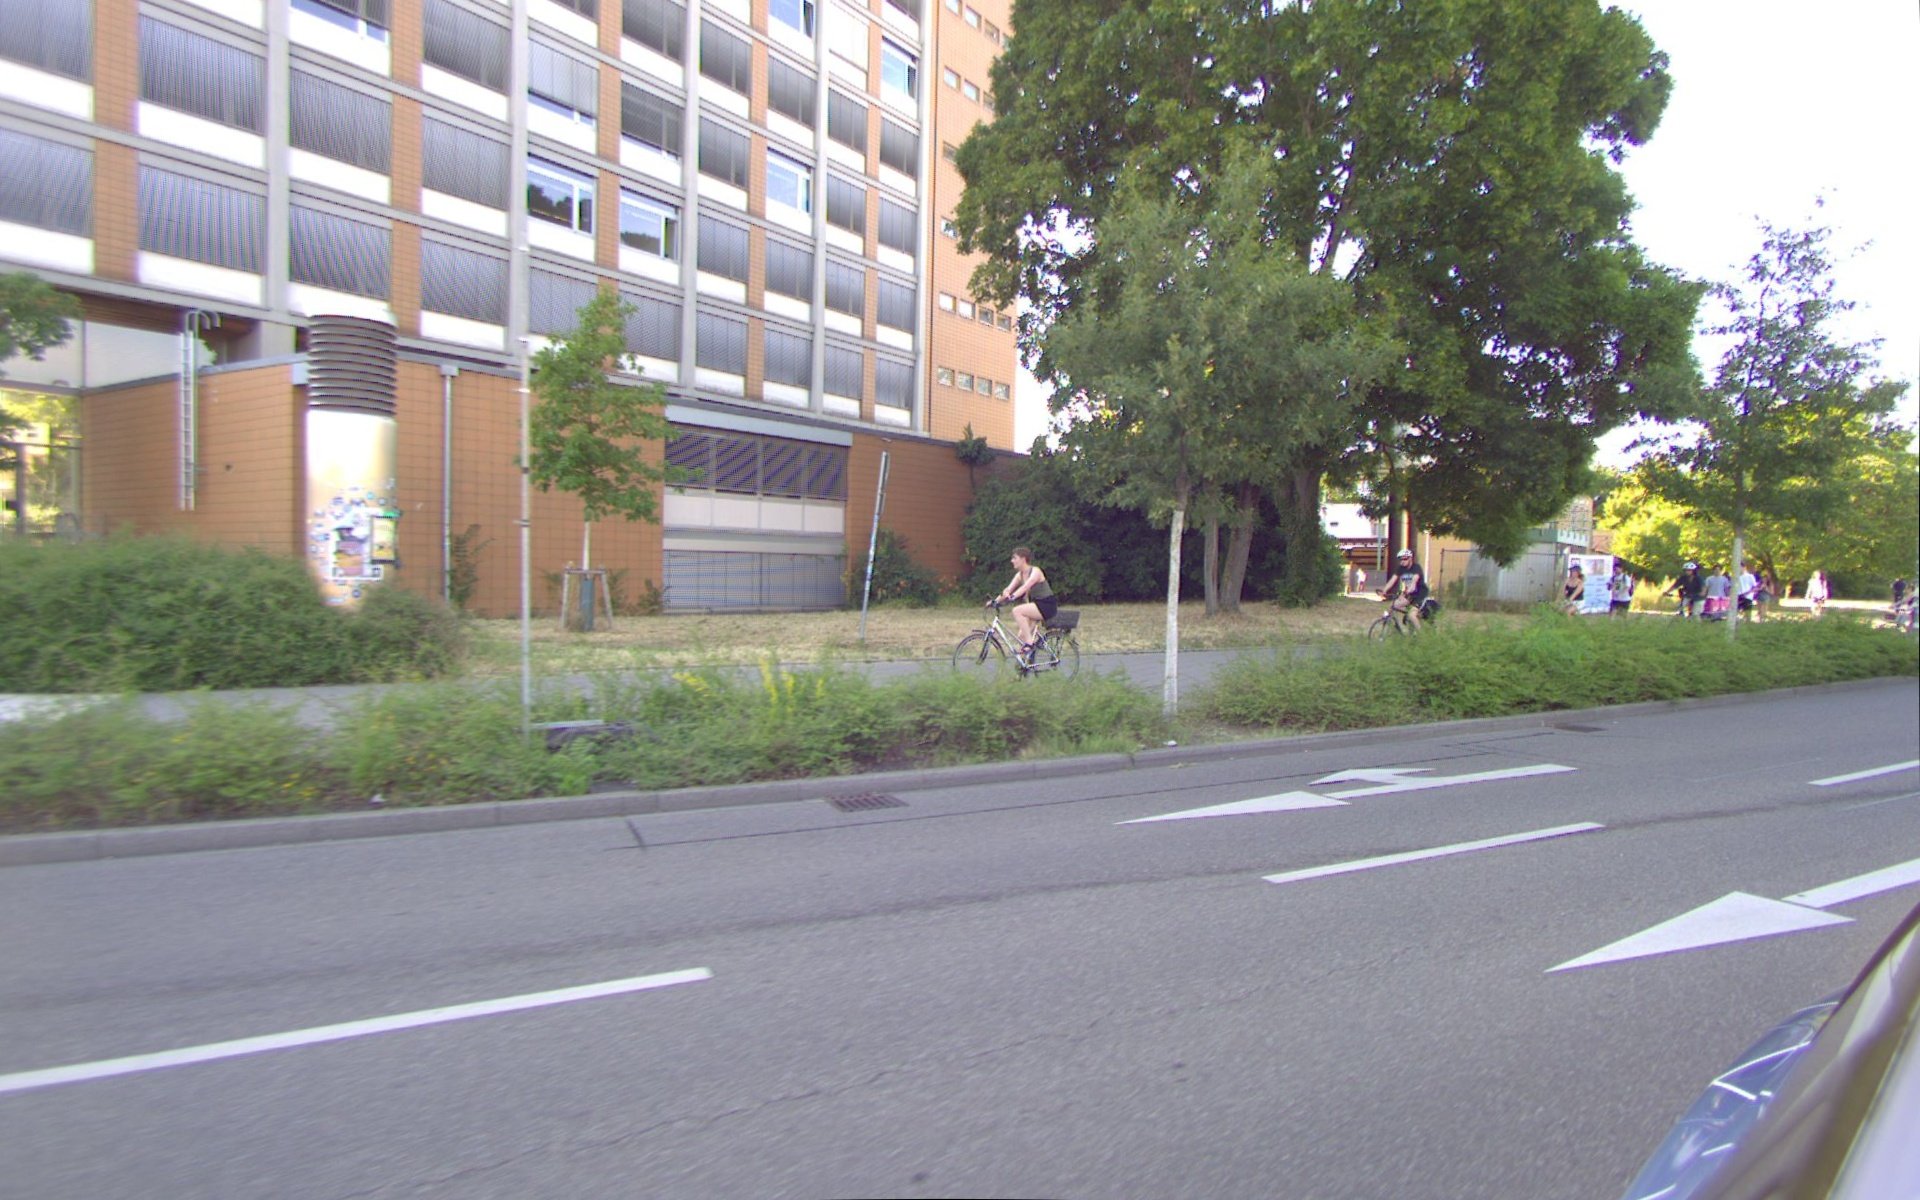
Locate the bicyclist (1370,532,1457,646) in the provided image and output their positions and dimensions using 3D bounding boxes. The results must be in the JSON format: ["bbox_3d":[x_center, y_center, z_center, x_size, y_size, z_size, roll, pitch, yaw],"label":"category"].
[{"bbox_3d":[7.623,-0.195,17.023,1.071,1.853,0.782,0,2,-27],"label":"bicyclist"}]

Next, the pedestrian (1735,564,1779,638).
[{"bbox_3d":[20.747,0.022,26.347,0.611,1.892,0.576,1,2,4],"label":"pedestrian"}]

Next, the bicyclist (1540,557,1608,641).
[{"bbox_3d":[11.871,-0.021,19.578,0.832,1.568,0.719,2,0,-21],"label":"bicyclist"}]

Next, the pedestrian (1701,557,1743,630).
[{"bbox_3d":[20.094,-0.189,26.697,0.611,1.892,0.576,1,2,4],"label":"pedestrian"}]

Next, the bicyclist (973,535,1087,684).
[{"bbox_3d":[0.840,0.090,12.241,1.071,1.697,0.782,0,5,-29],"label":"bicyclist"}]

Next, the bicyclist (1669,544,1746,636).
[{"bbox_3d":[15.525,-0.224,21.028,1.070,1.856,0.782,0,2,-20],"label":"bicyclist"}]

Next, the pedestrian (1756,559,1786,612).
[{"bbox_3d":[25.050,-0.460,31.259,0.620,1.594,0.629,2,2,43],"label":"pedestrian"}]

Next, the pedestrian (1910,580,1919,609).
[{"bbox_3d":[51.353,-0.285,54.028,0.759,1.562,0.836,3,3,37],"label":"pedestrian"}]

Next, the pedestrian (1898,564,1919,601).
[{"bbox_3d":[45.547,-0.832,48.589,0.710,1.734,0.722,2,2,43],"label":"pedestrian"}]

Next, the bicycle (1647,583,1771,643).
[{"bbox_3d":[15.592,0.257,21.060,2.526,1.170,0.782,0,2,-20],"label":"bicycle"}]

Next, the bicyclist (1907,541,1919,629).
[{"bbox_3d":[20.204,-0.317,20.779,0.834,1.810,0.716,0,0,4],"label":"bicyclist"}]

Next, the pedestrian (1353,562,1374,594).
[{"bbox_3d":[26.062,-1.413,65.338,0.853,2.038,0.899,0,2,-41],"label":"pedestrian"}]

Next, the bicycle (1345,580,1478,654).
[{"bbox_3d":[7.613,0.256,17.040,2.244,1.170,0.782,0,2,-27],"label":"bicycle"}]

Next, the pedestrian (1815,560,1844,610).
[{"bbox_3d":[30.829,-0.530,35.884,0.672,1.725,0.865,2,2,38],"label":"pedestrian"}]

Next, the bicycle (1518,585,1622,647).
[{"bbox_3d":[11.784,0.304,19.558,1.829,1.135,0.721,2,0,-21],"label":"bicycle"}]

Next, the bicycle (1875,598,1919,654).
[{"bbox_3d":[20.179,0.527,20.777,2.029,1.135,0.719,0,0,5],"label":"bicycle"}]

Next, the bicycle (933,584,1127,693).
[{"bbox_3d":[0.869,0.420,12.273,2.245,1.169,0.782,-1,5,-29],"label":"bicycle"}]

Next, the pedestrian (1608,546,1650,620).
[{"bbox_3d":[15.901,-0.408,24.065,0.619,1.720,0.622,0,2,-38],"label":"pedestrian"}]
